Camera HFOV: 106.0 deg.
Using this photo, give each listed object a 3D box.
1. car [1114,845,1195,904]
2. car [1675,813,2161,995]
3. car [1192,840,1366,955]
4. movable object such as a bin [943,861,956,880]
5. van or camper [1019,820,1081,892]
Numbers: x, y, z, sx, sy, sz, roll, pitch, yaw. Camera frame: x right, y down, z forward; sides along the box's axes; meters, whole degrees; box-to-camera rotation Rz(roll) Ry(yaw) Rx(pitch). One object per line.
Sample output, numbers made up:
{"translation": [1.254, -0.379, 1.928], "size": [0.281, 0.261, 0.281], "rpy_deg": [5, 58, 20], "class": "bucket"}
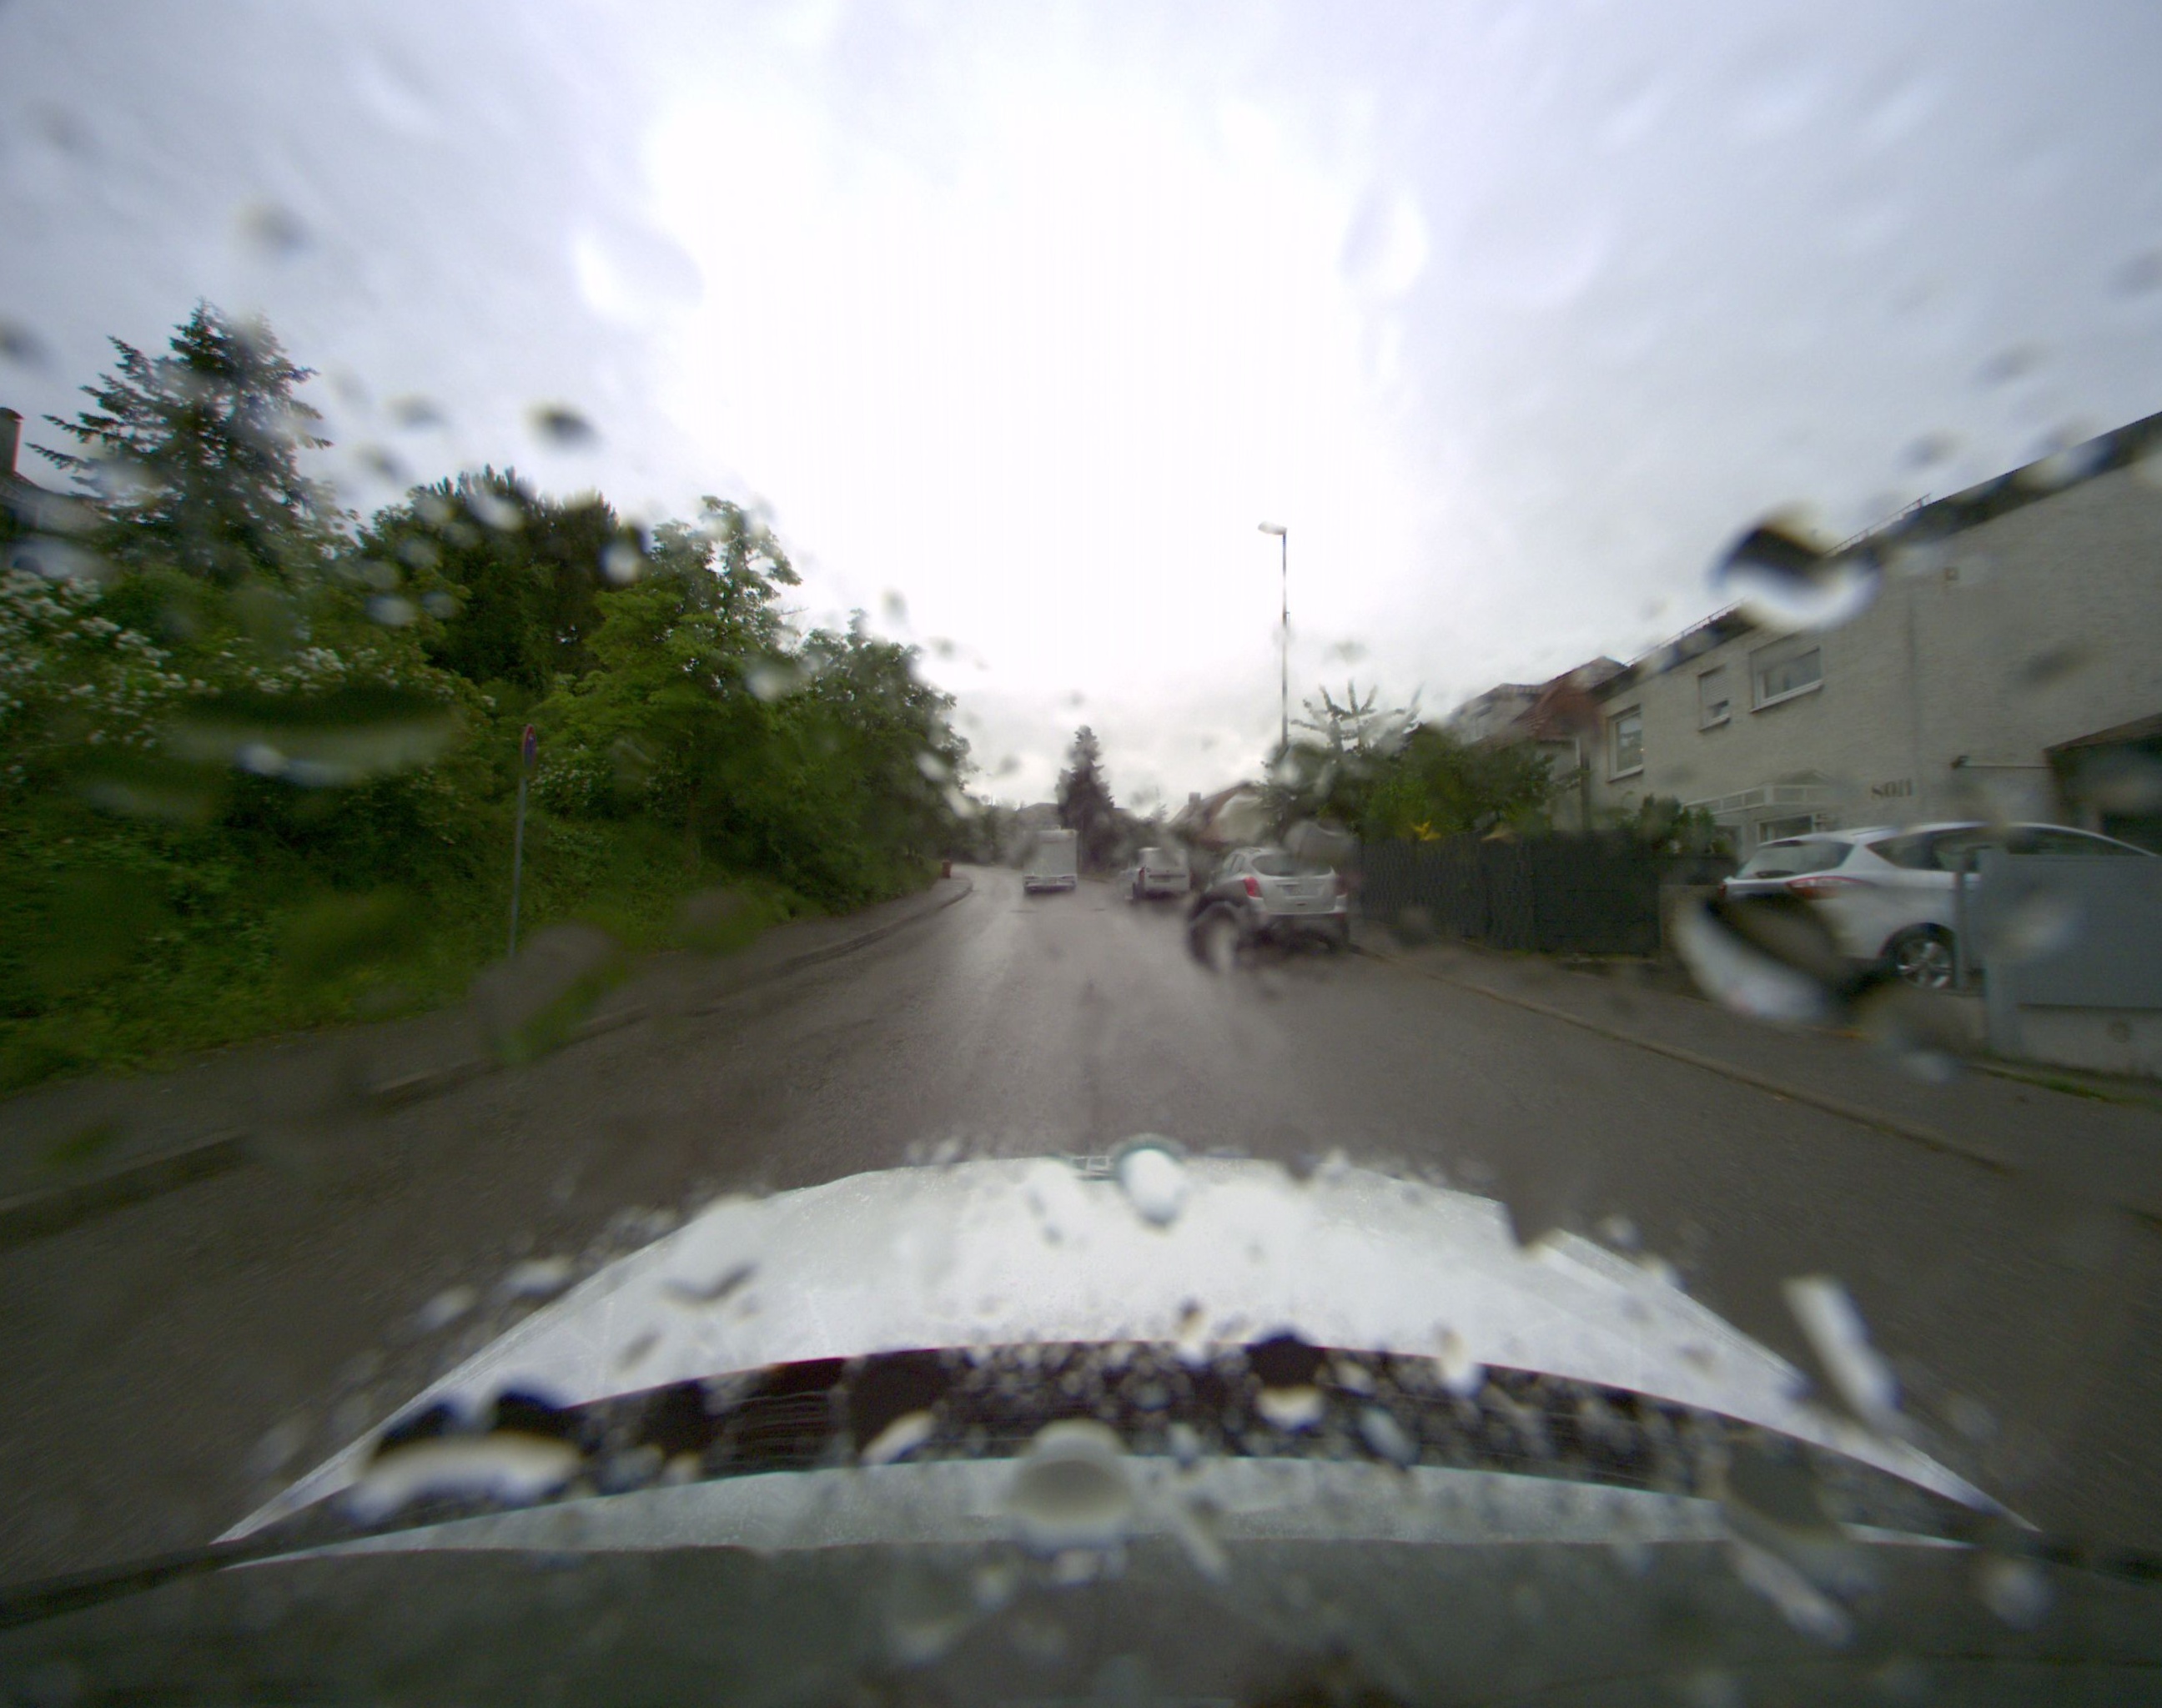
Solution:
{"translation": [2.348, 0.643, 27.244], "size": [1.777, 1.803, 4.696], "rpy_deg": [0, -1, -7], "class": "car"}
{"translation": [8.668, 0.463, 8.153], "size": [3.969, 1.590, 1.937], "rpy_deg": [0, -2, 4], "class": "car"}
{"translation": [3.220, 0.653, 14.190], "size": [1.800, 1.626, 4.284], "rpy_deg": [-2, 0, -2], "class": "car"}
{"translation": [-8.118, 0.992, 50.279], "size": [0.693, 1.090, 0.802], "rpy_deg": [2, 3, -6], "class": "movable object such as a bin"}
{"translation": [-1.452, 0.122, 36.257], "size": [2.535, 2.925, 5.939], "rpy_deg": [0, -1, -4], "class": "van or camper"}
